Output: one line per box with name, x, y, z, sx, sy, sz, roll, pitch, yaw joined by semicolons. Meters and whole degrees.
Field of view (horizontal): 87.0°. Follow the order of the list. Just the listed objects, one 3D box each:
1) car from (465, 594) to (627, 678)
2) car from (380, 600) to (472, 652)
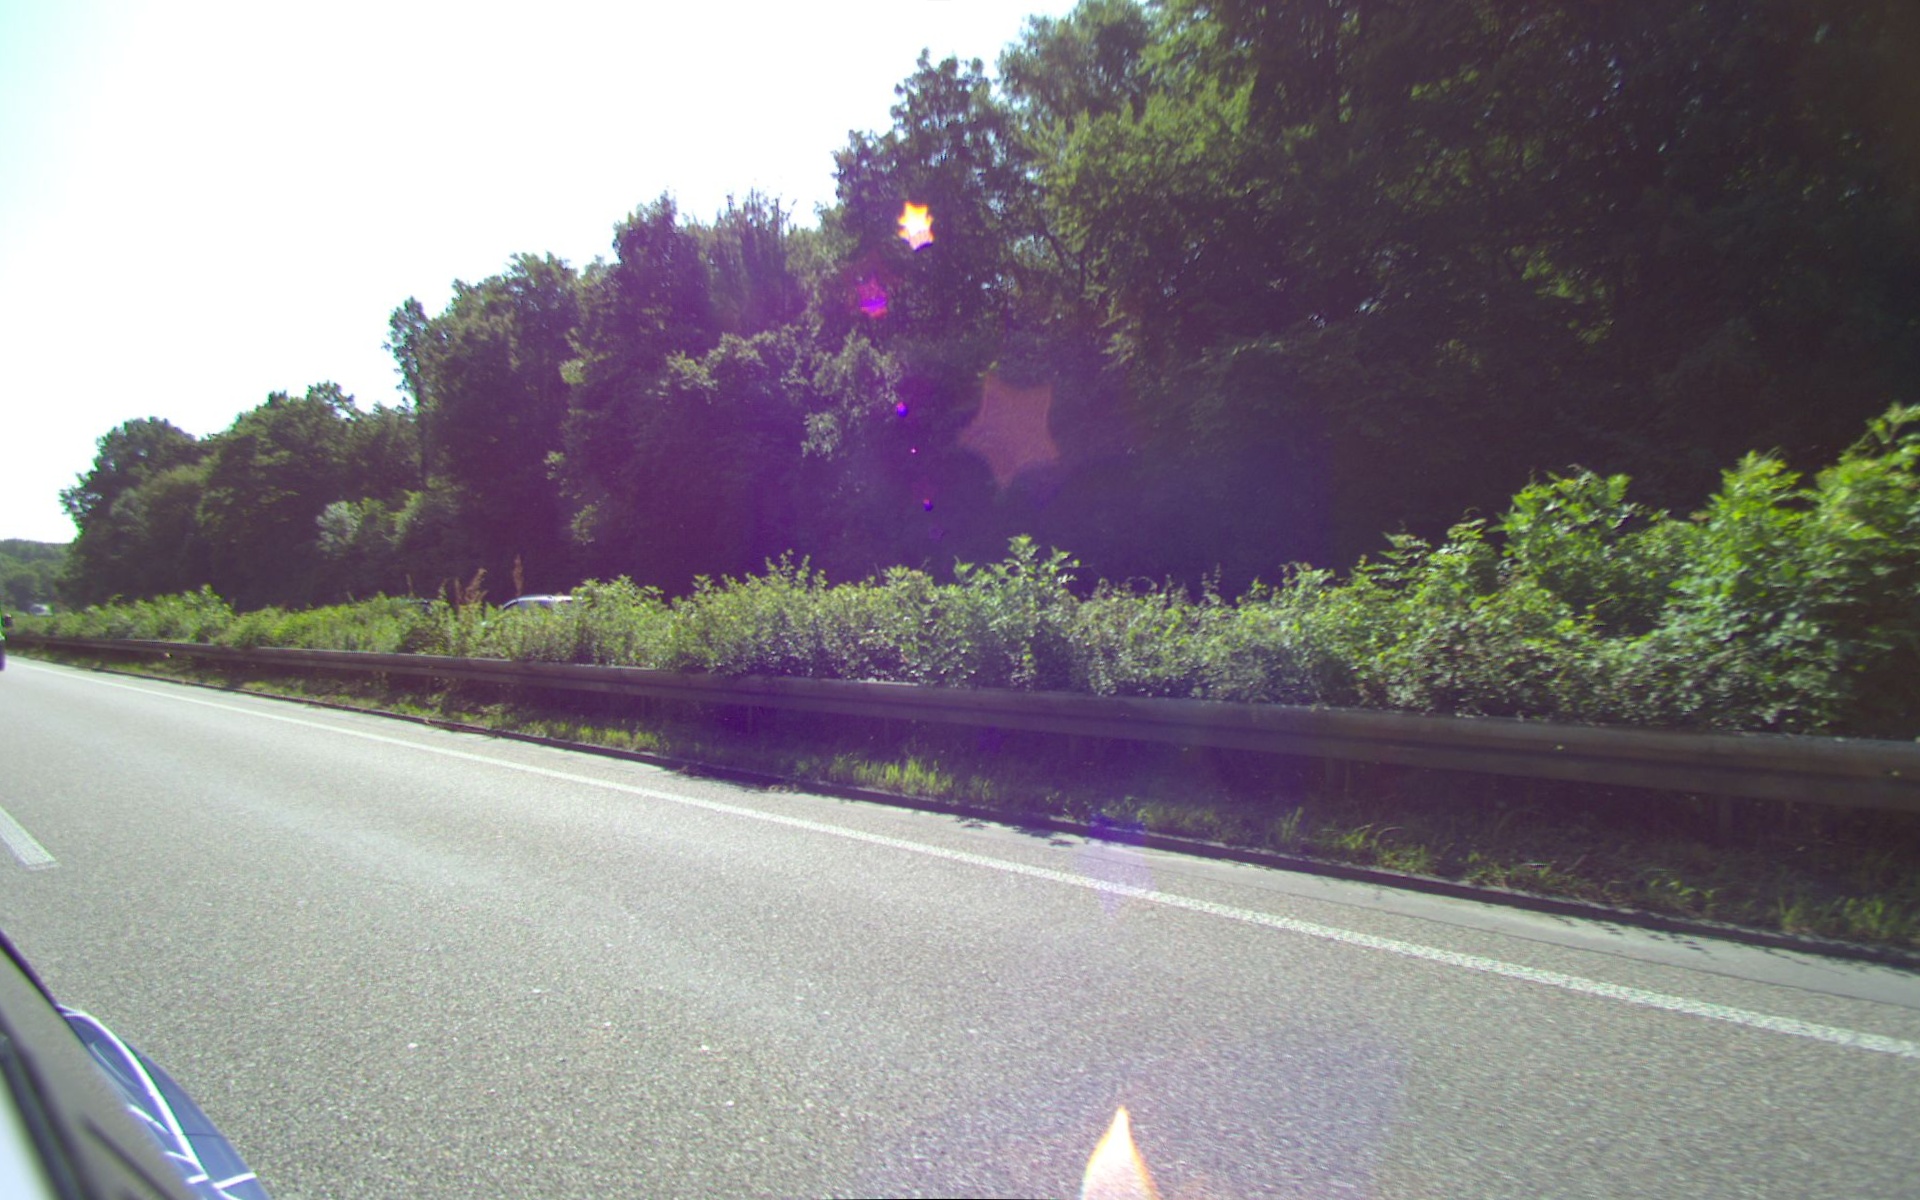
car;-9.342;0.751;22.683;4.279;1.719;1.591;-1;0;41
car;-20.471;0.995;38.717;4.430;1.863;1.614;-2;0;41
